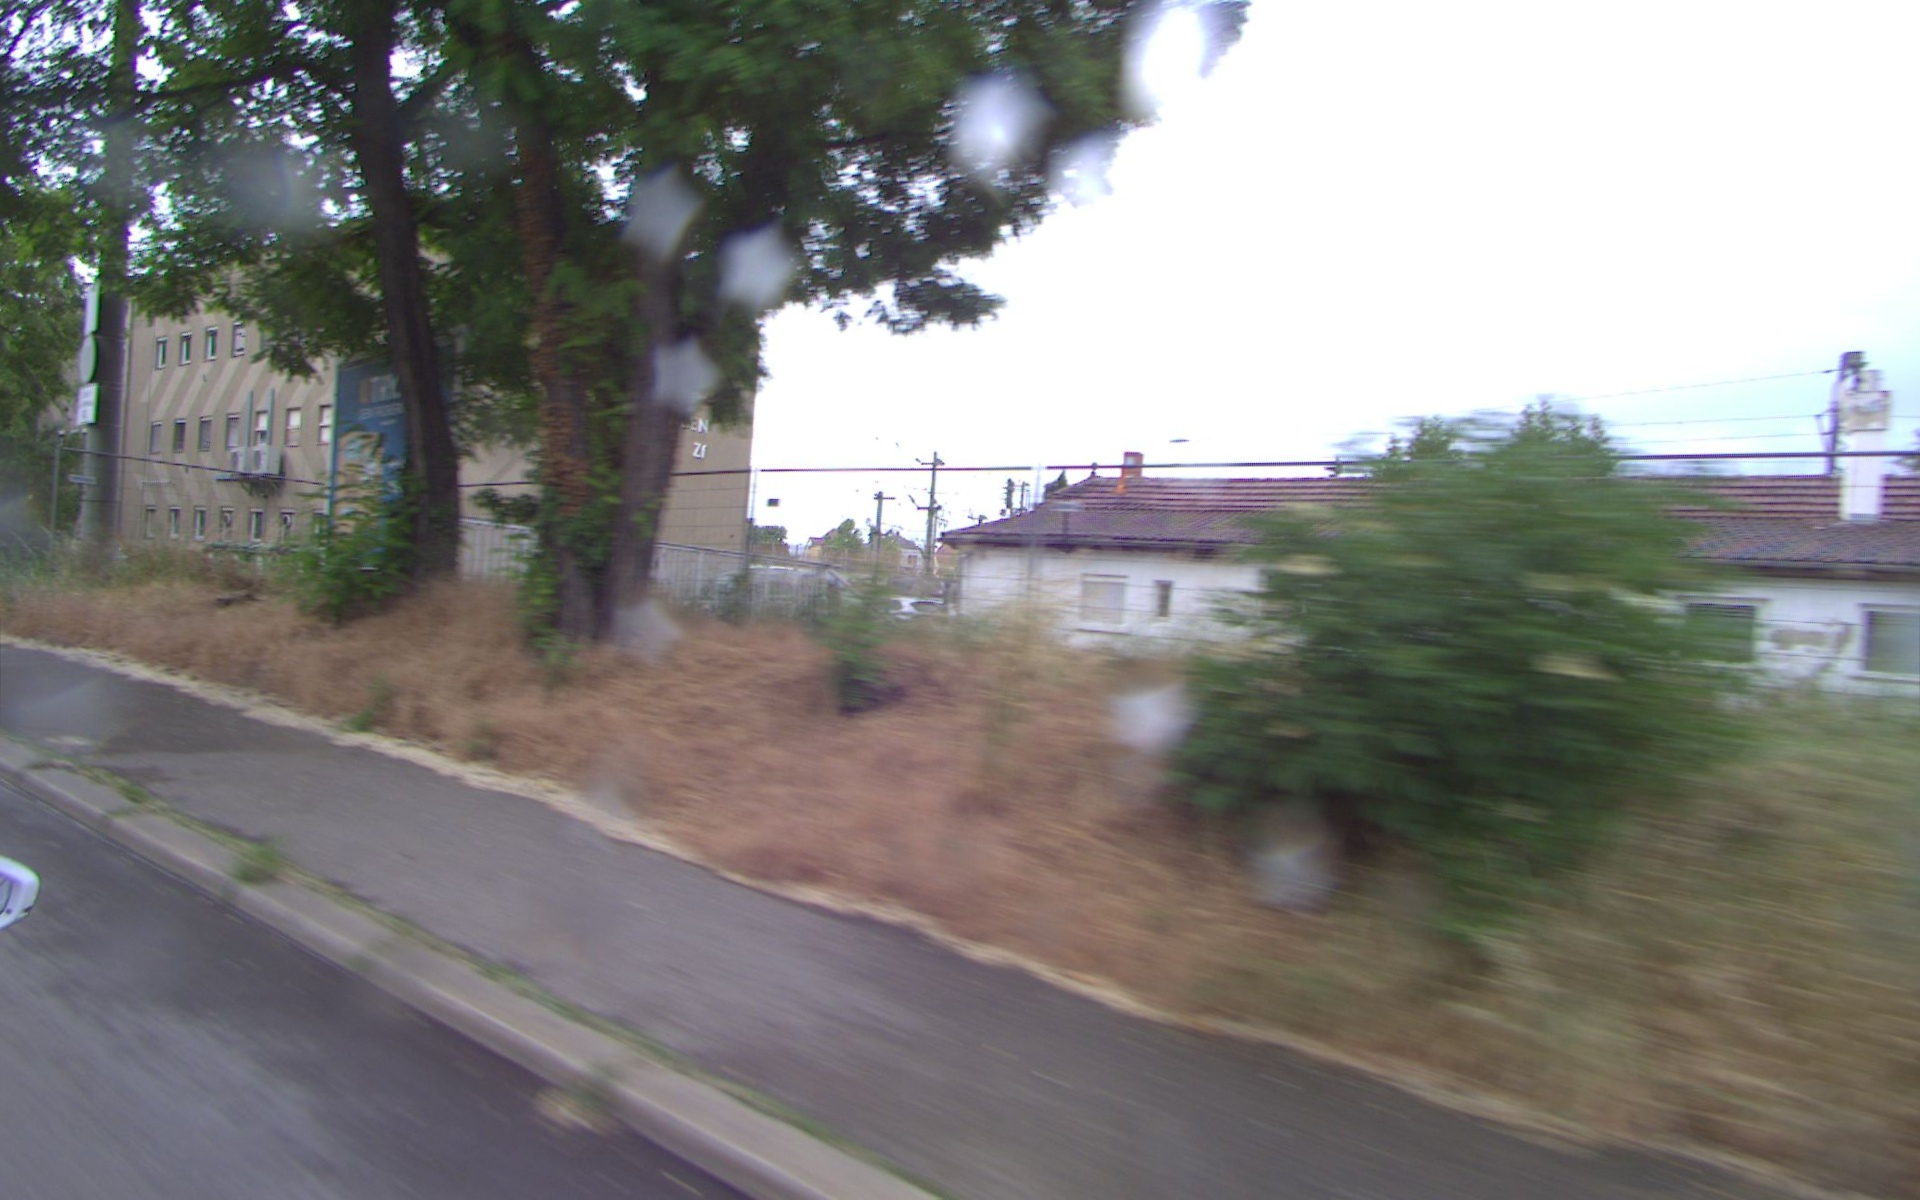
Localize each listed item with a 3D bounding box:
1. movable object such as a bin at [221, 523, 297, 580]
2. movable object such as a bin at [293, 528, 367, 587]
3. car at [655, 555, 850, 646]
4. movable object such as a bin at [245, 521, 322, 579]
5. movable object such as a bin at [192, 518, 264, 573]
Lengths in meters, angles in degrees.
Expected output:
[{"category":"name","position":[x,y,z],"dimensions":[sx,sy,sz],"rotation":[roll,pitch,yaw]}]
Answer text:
[{"category":"movable object such as a bin","position":[-20.370,-1.401,29.237],"dimensions":[1.408,1.434,1.305],"rotation":[6,1,33]},{"category":"movable object such as a bin","position":[-17.366,-1.165,27.753],"dimensions":[1.310,1.434,1.213],"rotation":[6,1,33]},{"category":"car","position":[-5.126,-0.011,24.676],"dimensions":[4.577,1.882,1.783],"rotation":[4,-1,31]},{"category":"movable object such as a bin","position":[-19.117,-1.396,28.436],"dimensions":[1.396,1.434,1.305],"rotation":[6,1,33]},{"category":"movable object such as a bin","position":[-21.842,-1.622,30.034],"dimensions":[1.335,1.434,1.272],"rotation":[6,1,33]}]
